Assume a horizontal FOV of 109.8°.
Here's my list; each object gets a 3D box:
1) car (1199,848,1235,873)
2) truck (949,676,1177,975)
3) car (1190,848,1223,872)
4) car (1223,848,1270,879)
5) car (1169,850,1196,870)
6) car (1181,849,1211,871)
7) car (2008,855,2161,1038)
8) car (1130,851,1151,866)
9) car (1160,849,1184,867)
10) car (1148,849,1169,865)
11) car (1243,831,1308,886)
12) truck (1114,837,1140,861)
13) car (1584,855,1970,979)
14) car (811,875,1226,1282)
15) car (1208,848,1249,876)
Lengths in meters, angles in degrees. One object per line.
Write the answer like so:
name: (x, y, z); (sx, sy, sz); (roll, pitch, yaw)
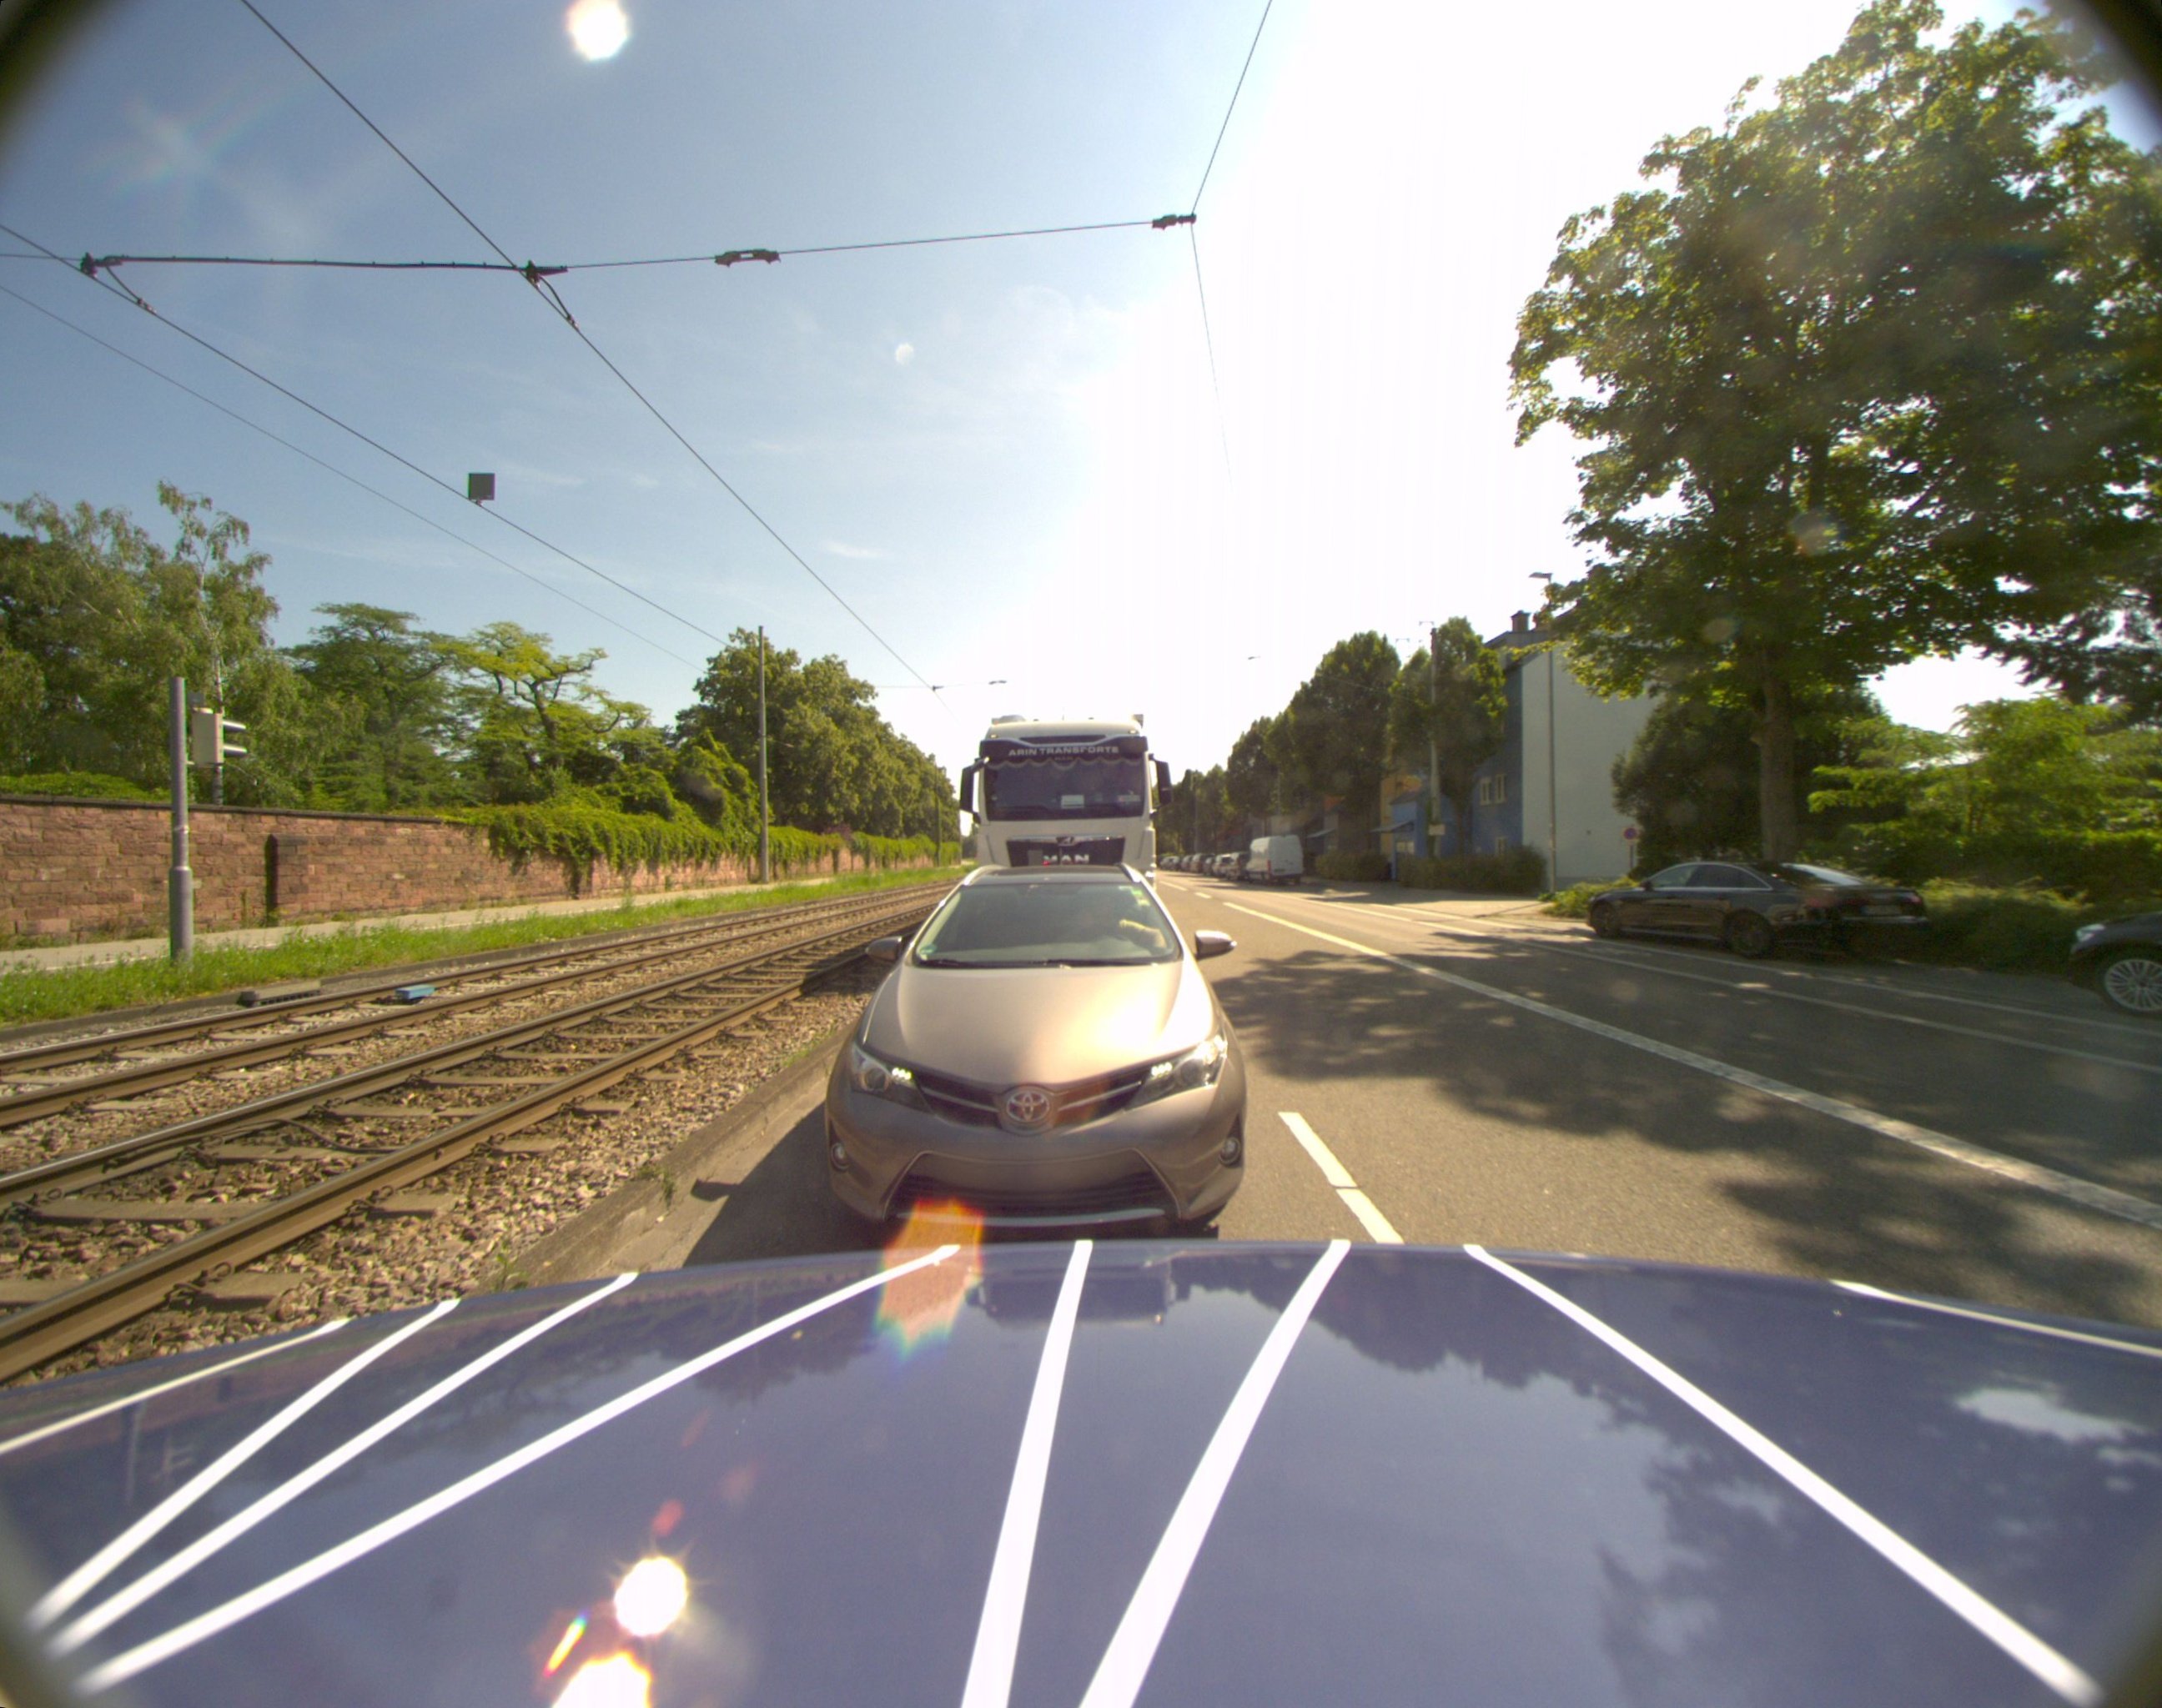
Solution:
car: (11.223, 0.525, 62.858); (1.998, 1.795, 4.256); (-6, 0, 0)
truck: (-0.137, -0.387, 17.267); (2.935, 3.856, 14.912); (0, 0, 1)
car: (11.134, 0.530, 67.669); (1.998, 1.795, 4.769); (-6, 0, 0)
car: (11.140, 0.630, 51.442); (1.998, 1.795, 4.769); (-6, 0, 0)
car: (10.573, 0.628, 79.162); (1.998, 1.795, 4.769); (-6, 0, 0)
car: (11.024, 0.553, 73.373); (1.998, 1.795, 4.769); (-6, 0, 0)
car: (10.544, 0.824, 5.565); (1.868, 1.562, 4.621); (-2, 0, 0)
car: (8.267, 0.636, 105.563); (1.999, 1.795, 5.111); (-5, 0, -4)
car: (10.256, 0.469, 85.906); (1.998, 1.795, 4.769); (-6, 0, 0)
car: (9.850, 0.395, 96.829); (1.998, 1.795, 4.769); (-6, 0, 0)
car: (10.912, 0.246, 43.146); (1.998, 2.678, 6.214); (-6, 0, 2)
truck: (6.987, -0.682, 116.102); (2.704, 3.263, 6.724); (-6, 0, -5)
car: (10.562, 0.822, 12.155); (1.868, 1.562, 4.621); (-1, 0, -2)
car: (-0.212, 0.910, 4.887); (1.573, 1.422, 4.000); (0, 0, 1)
car: (11.082, 0.573, 57.374); (1.998, 1.795, 4.769); (-6, 0, 0)
